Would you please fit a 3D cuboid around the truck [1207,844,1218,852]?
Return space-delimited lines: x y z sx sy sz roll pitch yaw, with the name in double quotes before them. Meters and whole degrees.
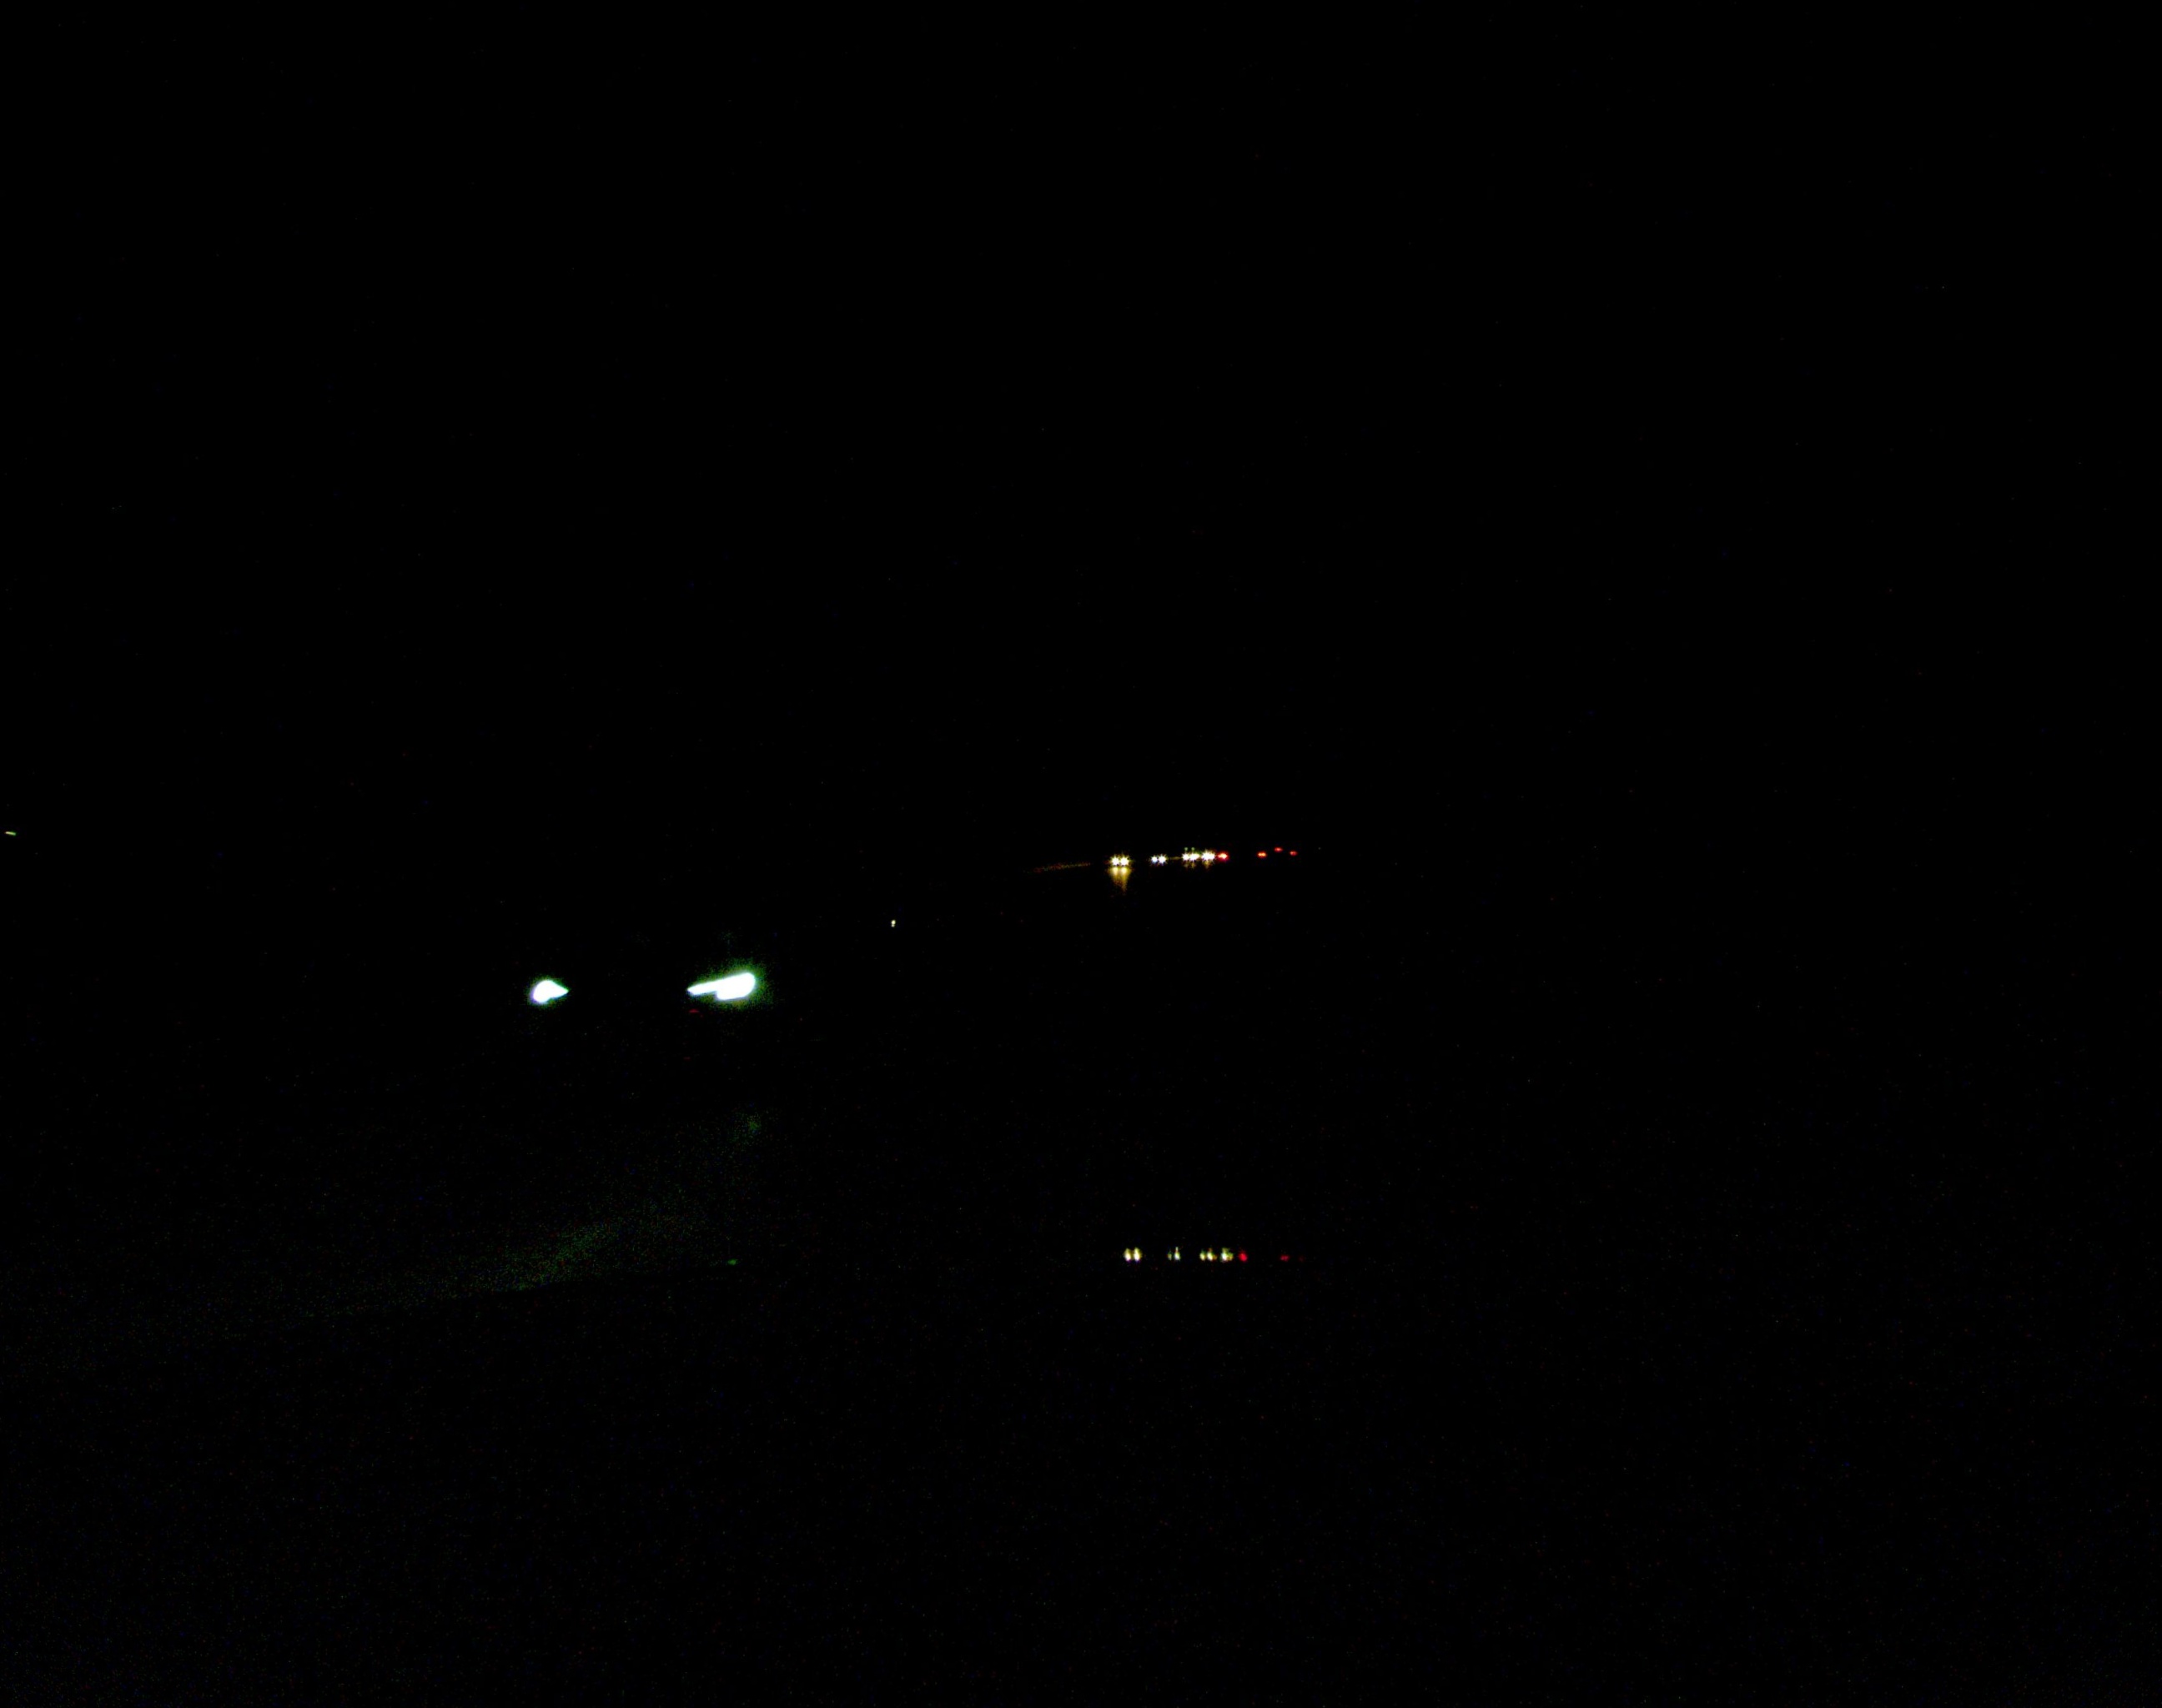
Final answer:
"truck" 39.806 -1.732 230.187 2.423 2.410 7.099 0 1 16

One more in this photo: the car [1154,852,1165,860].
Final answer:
"car" 15.693 0.424 151.201 1.811 1.508 3.939 1 0 12

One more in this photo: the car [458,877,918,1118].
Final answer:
"car" -3.110 1.011 7.420 1.812 1.418 4.875 0 0 2

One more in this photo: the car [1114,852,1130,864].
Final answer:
"car" 5.319 0.462 97.802 1.811 1.508 3.938 1 0 7

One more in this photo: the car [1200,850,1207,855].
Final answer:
"car" 39.363 -0.465 243.681 1.689 1.619 4.728 1 0 15

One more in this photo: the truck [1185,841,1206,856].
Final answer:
"truck" 33.528 -1.653 221.360 2.967 4.251 17.165 1 1 19
